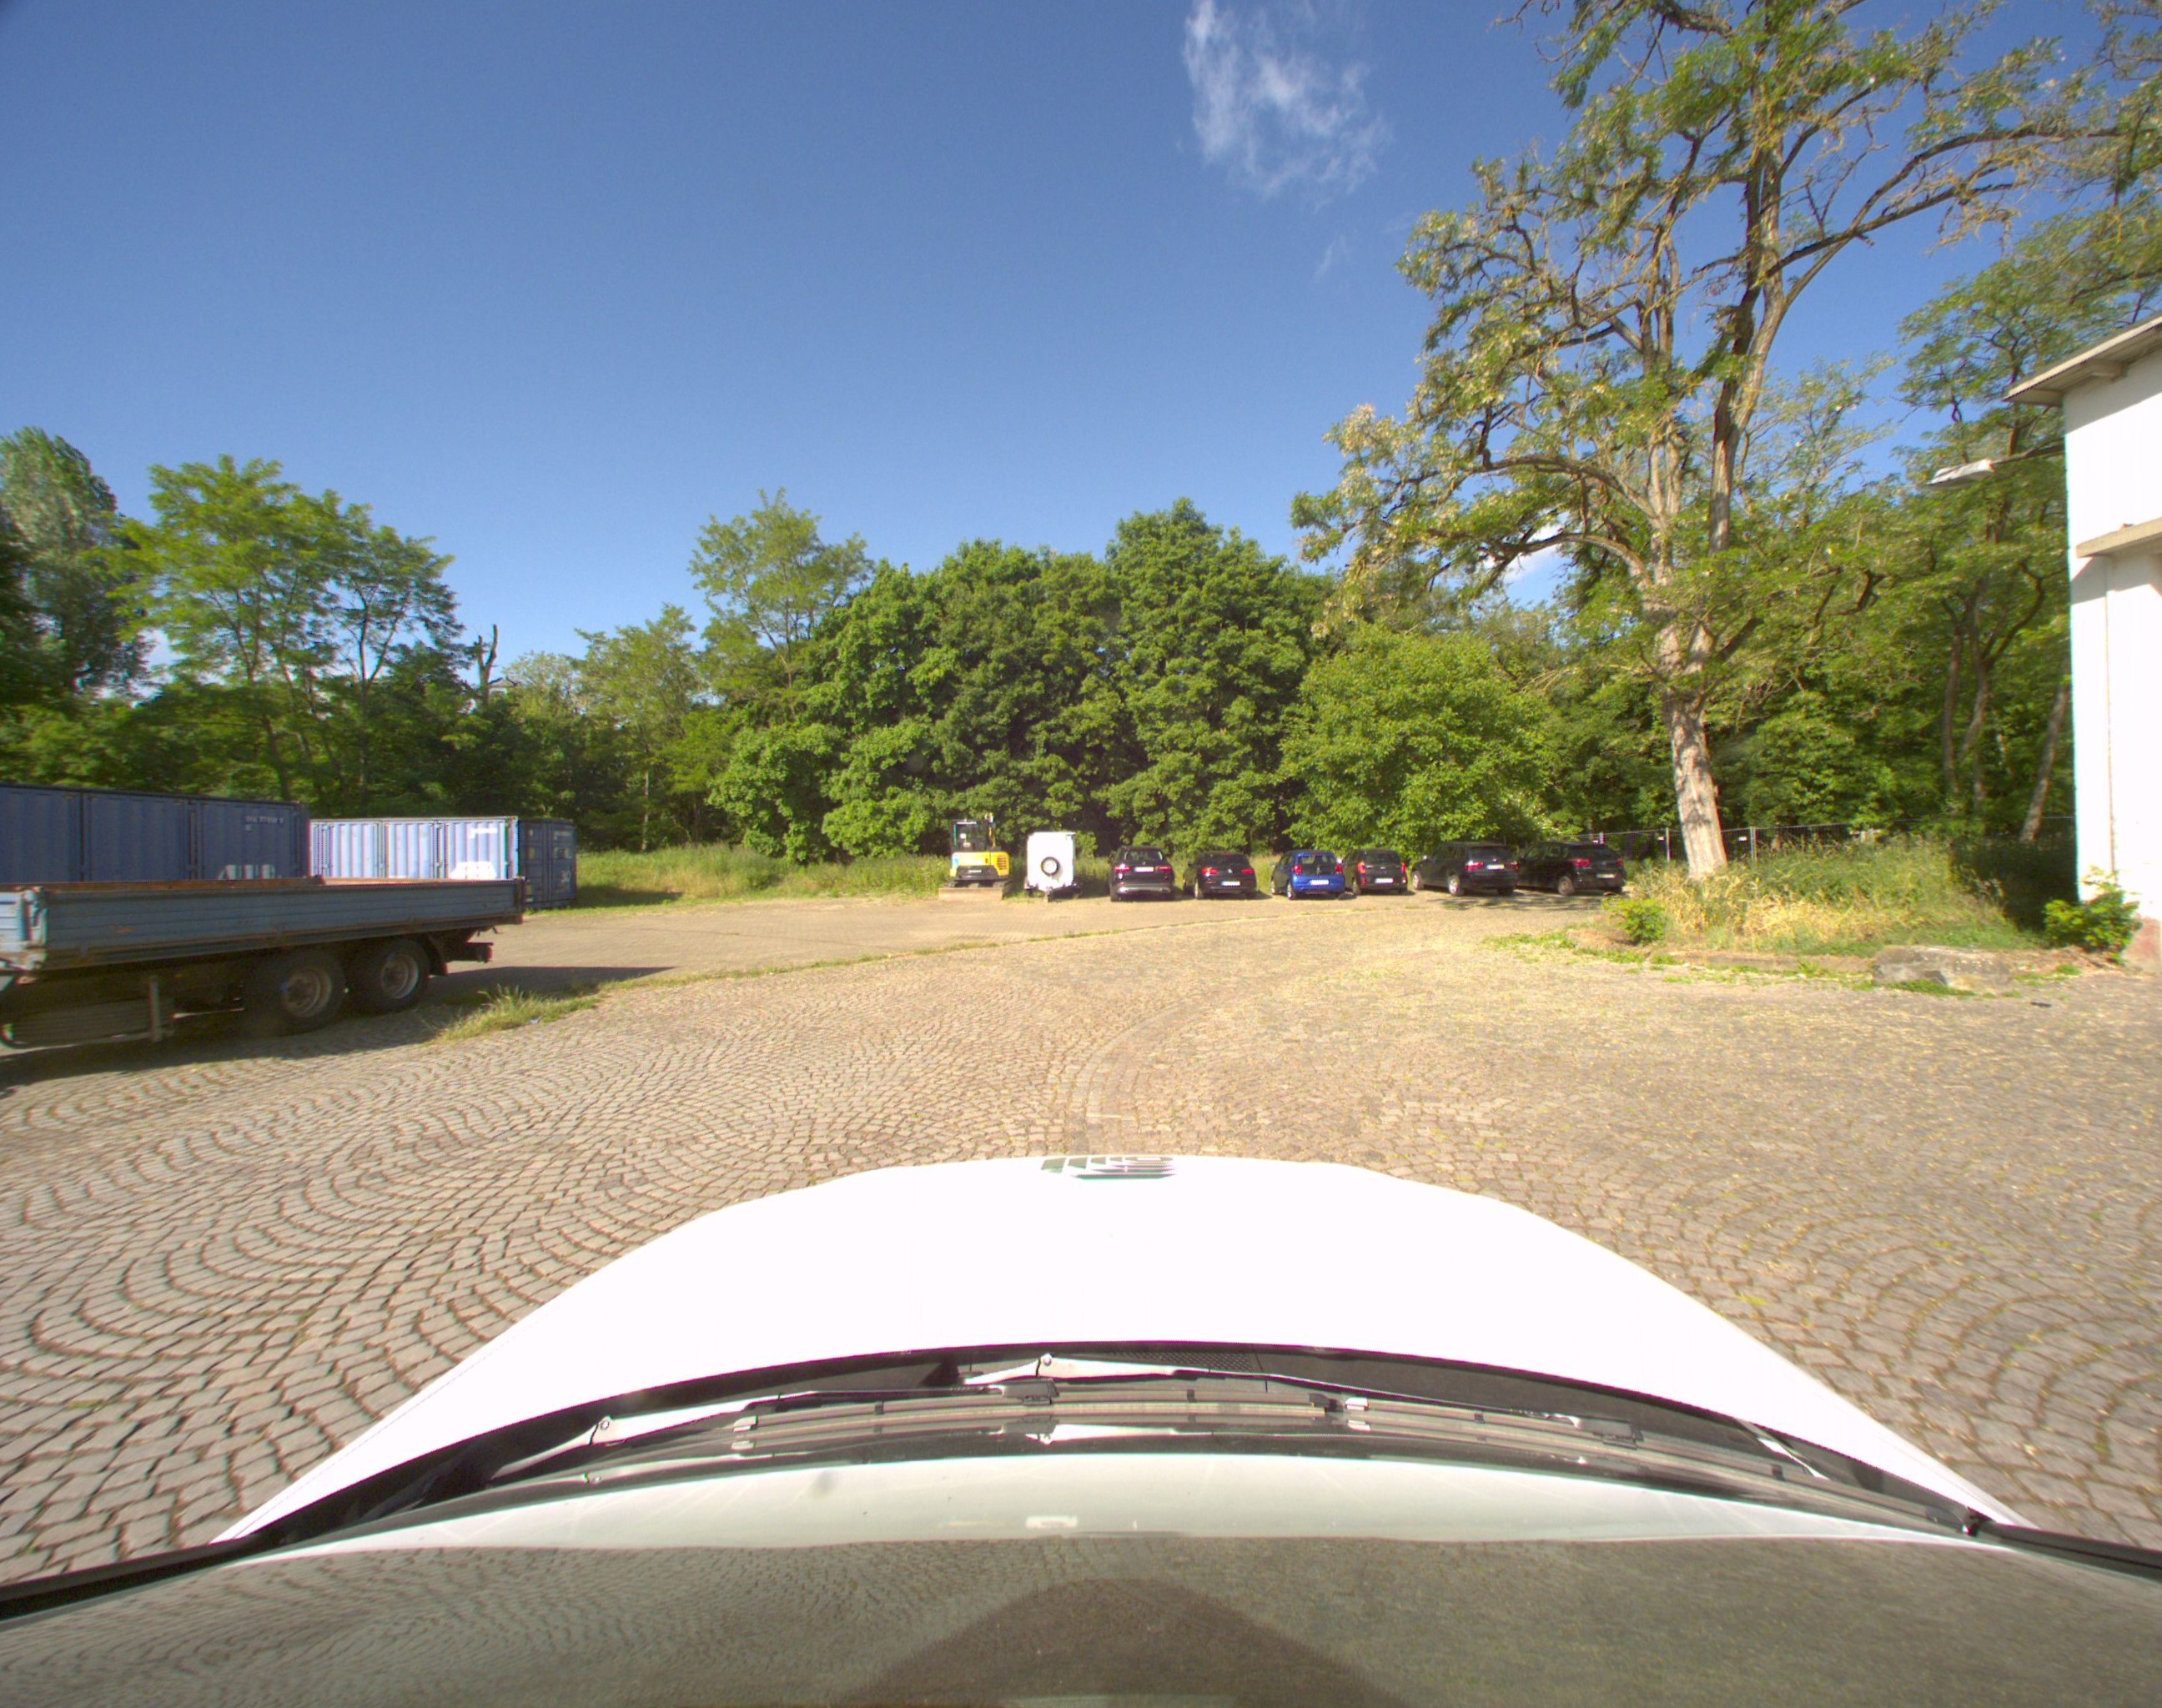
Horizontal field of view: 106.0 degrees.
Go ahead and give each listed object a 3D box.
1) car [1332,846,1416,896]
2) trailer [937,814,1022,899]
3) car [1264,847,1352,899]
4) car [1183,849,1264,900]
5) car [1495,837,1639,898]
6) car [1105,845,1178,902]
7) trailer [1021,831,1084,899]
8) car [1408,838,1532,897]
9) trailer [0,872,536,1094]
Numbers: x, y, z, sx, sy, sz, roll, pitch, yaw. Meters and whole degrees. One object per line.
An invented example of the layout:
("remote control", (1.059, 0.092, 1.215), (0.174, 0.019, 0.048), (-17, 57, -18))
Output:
("car", (9.385, 0.492, 26.354), (1.730, 1.451, 3.731), (0, 1, 6))
("trailer", (-3.206, 0.014, 26.300), (2.250, 2.538, 2.852), (0, 3, 2))
("car", (6.935, 0.530, 25.265), (1.773, 1.458, 3.791), (0, 1, 1))
("car", (4.312, 0.565, 25.178), (1.883, 1.411, 3.790), (0, 1, 0))
("car", (15.268, 0.335, 25.889), (1.820, 1.589, 4.268), (-1, 3, -4))
("car", (1.774, 0.528, 25.032), (1.958, 1.589, 4.131), (0, 1, 0))
("trailer", (-0.846, 0.300, 26.069), (1.811, 2.050, 2.851), (0, 1, 2))
("car", (12.234, 0.348, 25.951), (1.869, 1.630, 4.272), (0, 2, -1))
("trailer", (-8.196, 0.916, 7.805), (2.632, 1.414, 4.861), (-1, -1, 0))
